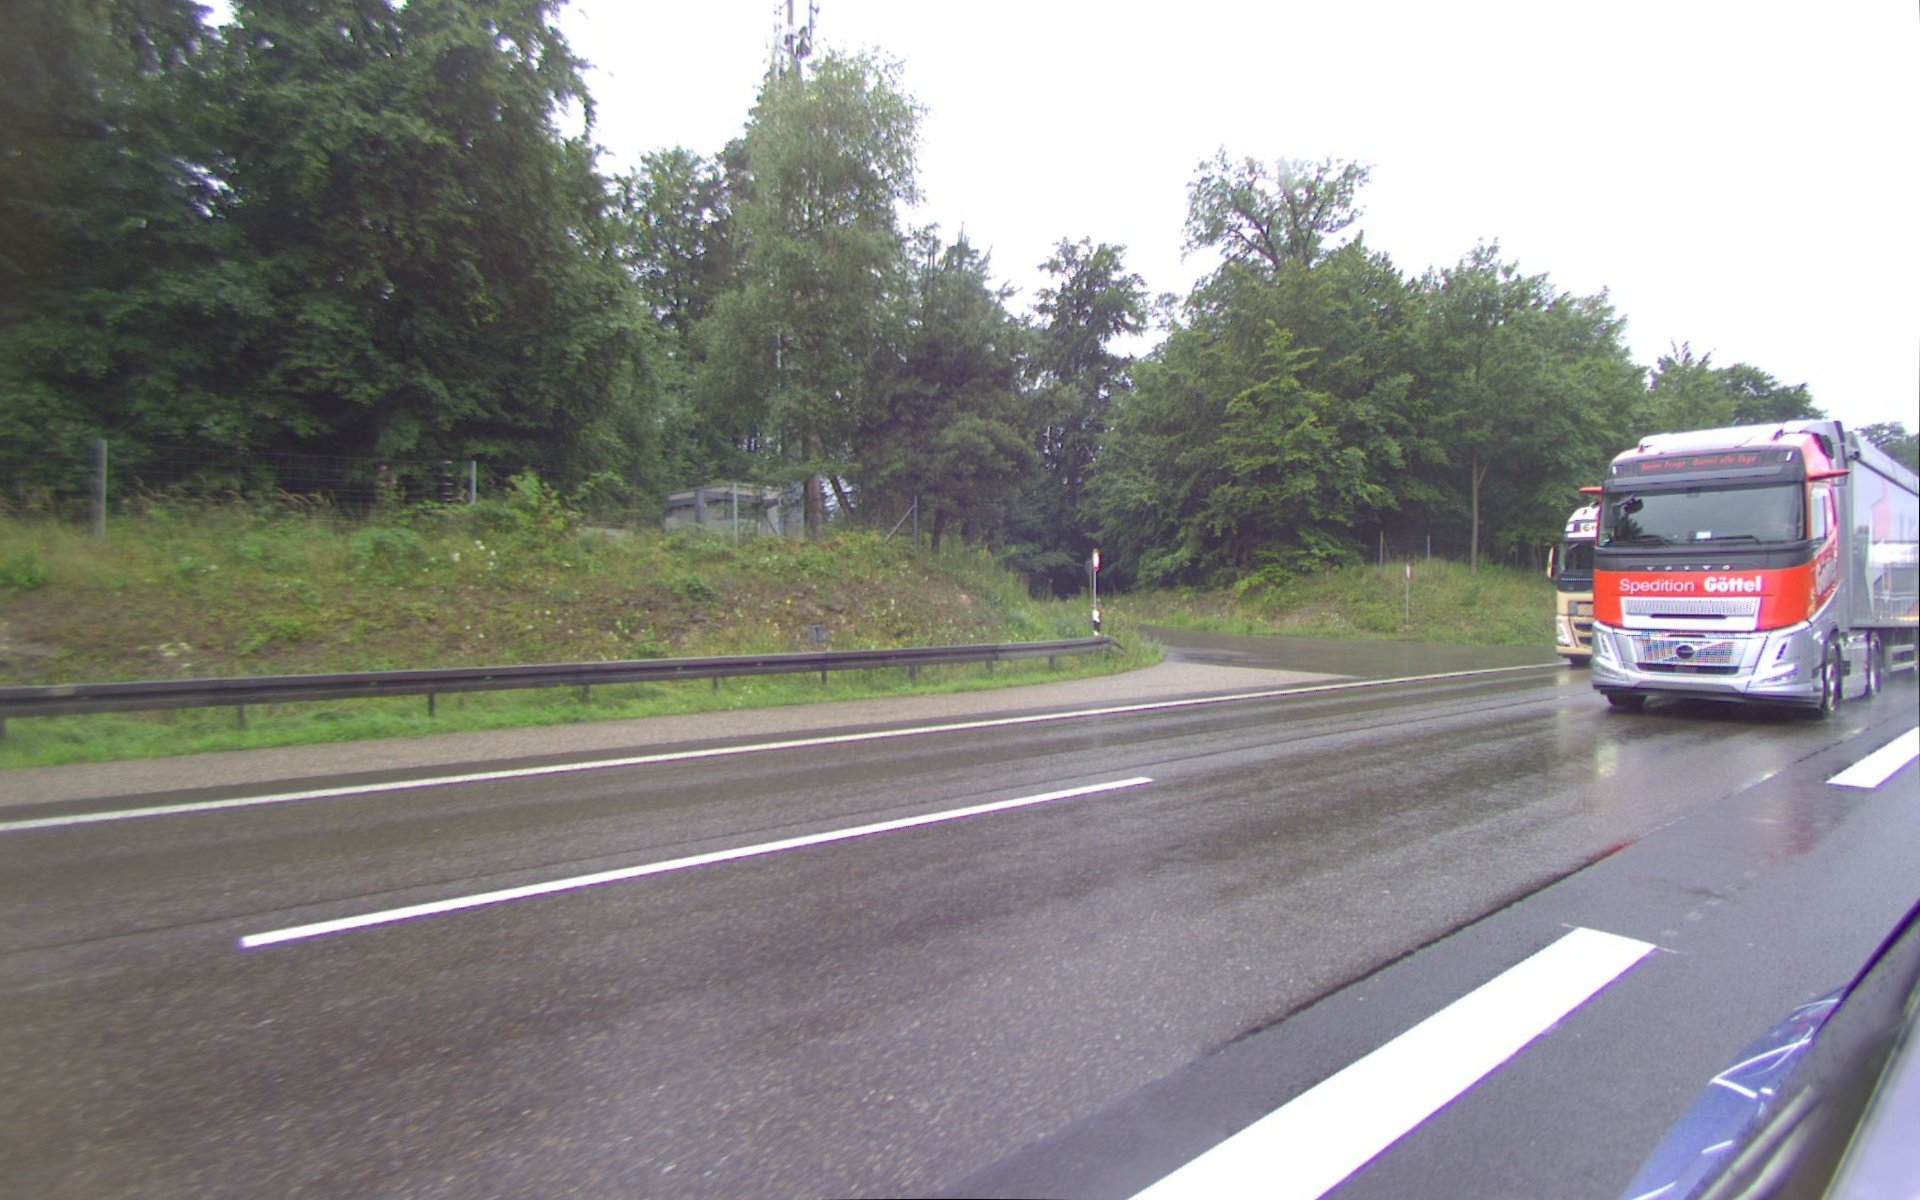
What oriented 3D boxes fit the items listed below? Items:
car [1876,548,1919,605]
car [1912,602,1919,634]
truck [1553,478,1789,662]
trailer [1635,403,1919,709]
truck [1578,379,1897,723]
[{"bbox_3d":[35.872,-0.850,37.740,3.929,2.039,1.997,0,0,-40],"label":"car"},{"bbox_3d":[49.974,0.882,51.391,4.328,1.583,1.863,0,0,-40],"label":"car"},{"bbox_3d":[18.601,-0.672,26.121,9.764,4.007,2.606,0,0,-40],"label":"truck"},{"bbox_3d":[16.407,-0.603,18.943,14.326,4.007,2.606,0,0,-41],"label":"trailer"},{"bbox_3d":[11.350,-0.588,14.610,5.502,4.007,2.606,0,0,-41],"label":"truck"}]
